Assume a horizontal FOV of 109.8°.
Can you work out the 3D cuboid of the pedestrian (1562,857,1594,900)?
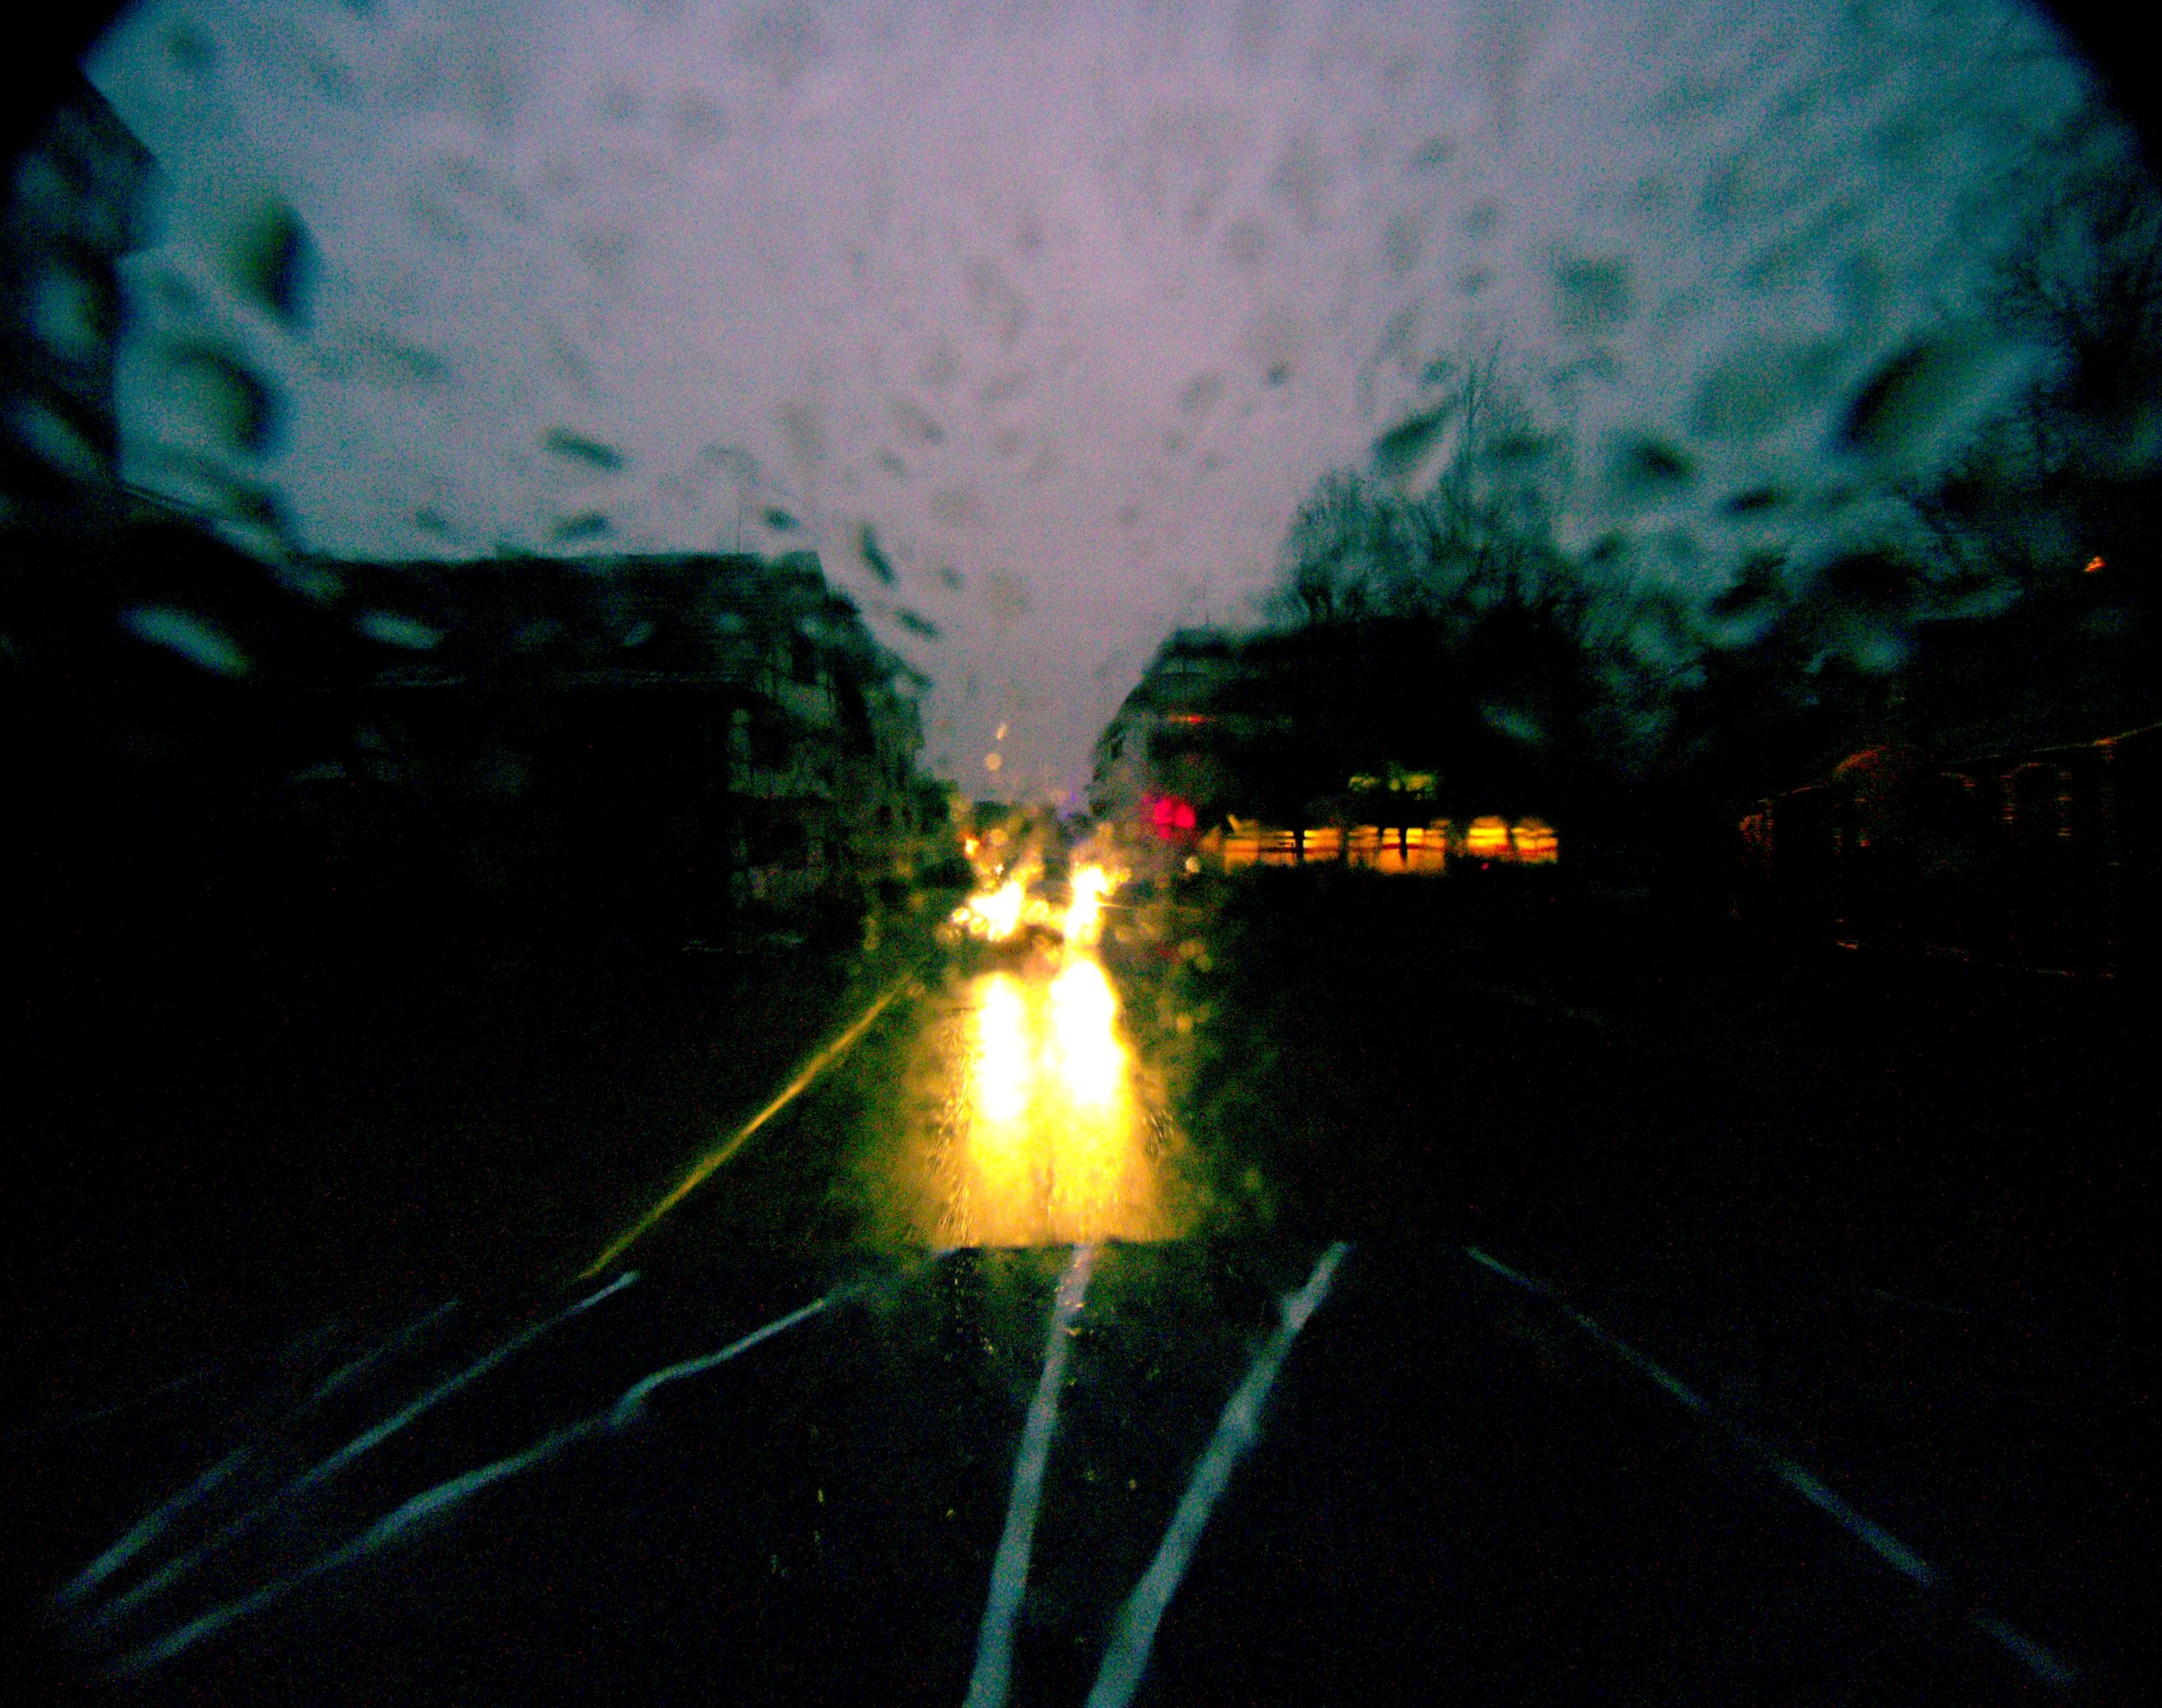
[{"bbox_3d":[15.678,0.766,23.975,0.620,1.331,0.568,-1,0,8],"label":"pedestrian"}]

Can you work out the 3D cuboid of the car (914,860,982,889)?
[{"bbox_3d":[-7.738,1.190,44.460,3.854,1.618,1.610,1,0,-9],"label":"car"}]

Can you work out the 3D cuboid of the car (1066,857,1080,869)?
[{"bbox_3d":[-1.153,1.302,113.298,1.836,1.703,3.701,-2,0,4],"label":"car"}]

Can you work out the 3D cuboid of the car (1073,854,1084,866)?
[{"bbox_3d":[-0.486,1.084,136.280,1.837,2.002,3.700,-2,0,-1],"label":"car"}]

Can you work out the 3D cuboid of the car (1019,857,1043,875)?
[{"bbox_3d":[-4.620,1.095,69.737,1.924,1.608,3.866,-2,0,-6],"label":"car"}]

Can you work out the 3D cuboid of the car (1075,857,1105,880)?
[{"bbox_3d":[0.600,1.035,55.774,1.900,1.607,3.826,-2,0,-4],"label":"car"}]

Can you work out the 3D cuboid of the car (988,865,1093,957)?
[{"bbox_3d":[-0.716,1.008,14.801,1.731,1.475,3.603,-2,0,-1],"label":"car"}]

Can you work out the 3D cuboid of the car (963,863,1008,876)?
[{"bbox_3d":[-8.613,1.387,68.769,3.889,1.120,1.550,0,0,-5],"label":"car"}]

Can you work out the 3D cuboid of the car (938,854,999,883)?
[{"bbox_3d":[-7.386,0.919,50.005,3.891,1.866,1.868,0,0,-10],"label":"car"}]

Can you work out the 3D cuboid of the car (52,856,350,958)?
[{"bbox_3d":[-15.505,0.892,13.527,3.424,1.535,1.617,2,3,2],"label":"car"}]

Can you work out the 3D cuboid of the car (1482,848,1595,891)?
[{"bbox_3d":[17.221,0.574,28.721,3.306,1.498,1.503,-2,0,8],"label":"car"}]
